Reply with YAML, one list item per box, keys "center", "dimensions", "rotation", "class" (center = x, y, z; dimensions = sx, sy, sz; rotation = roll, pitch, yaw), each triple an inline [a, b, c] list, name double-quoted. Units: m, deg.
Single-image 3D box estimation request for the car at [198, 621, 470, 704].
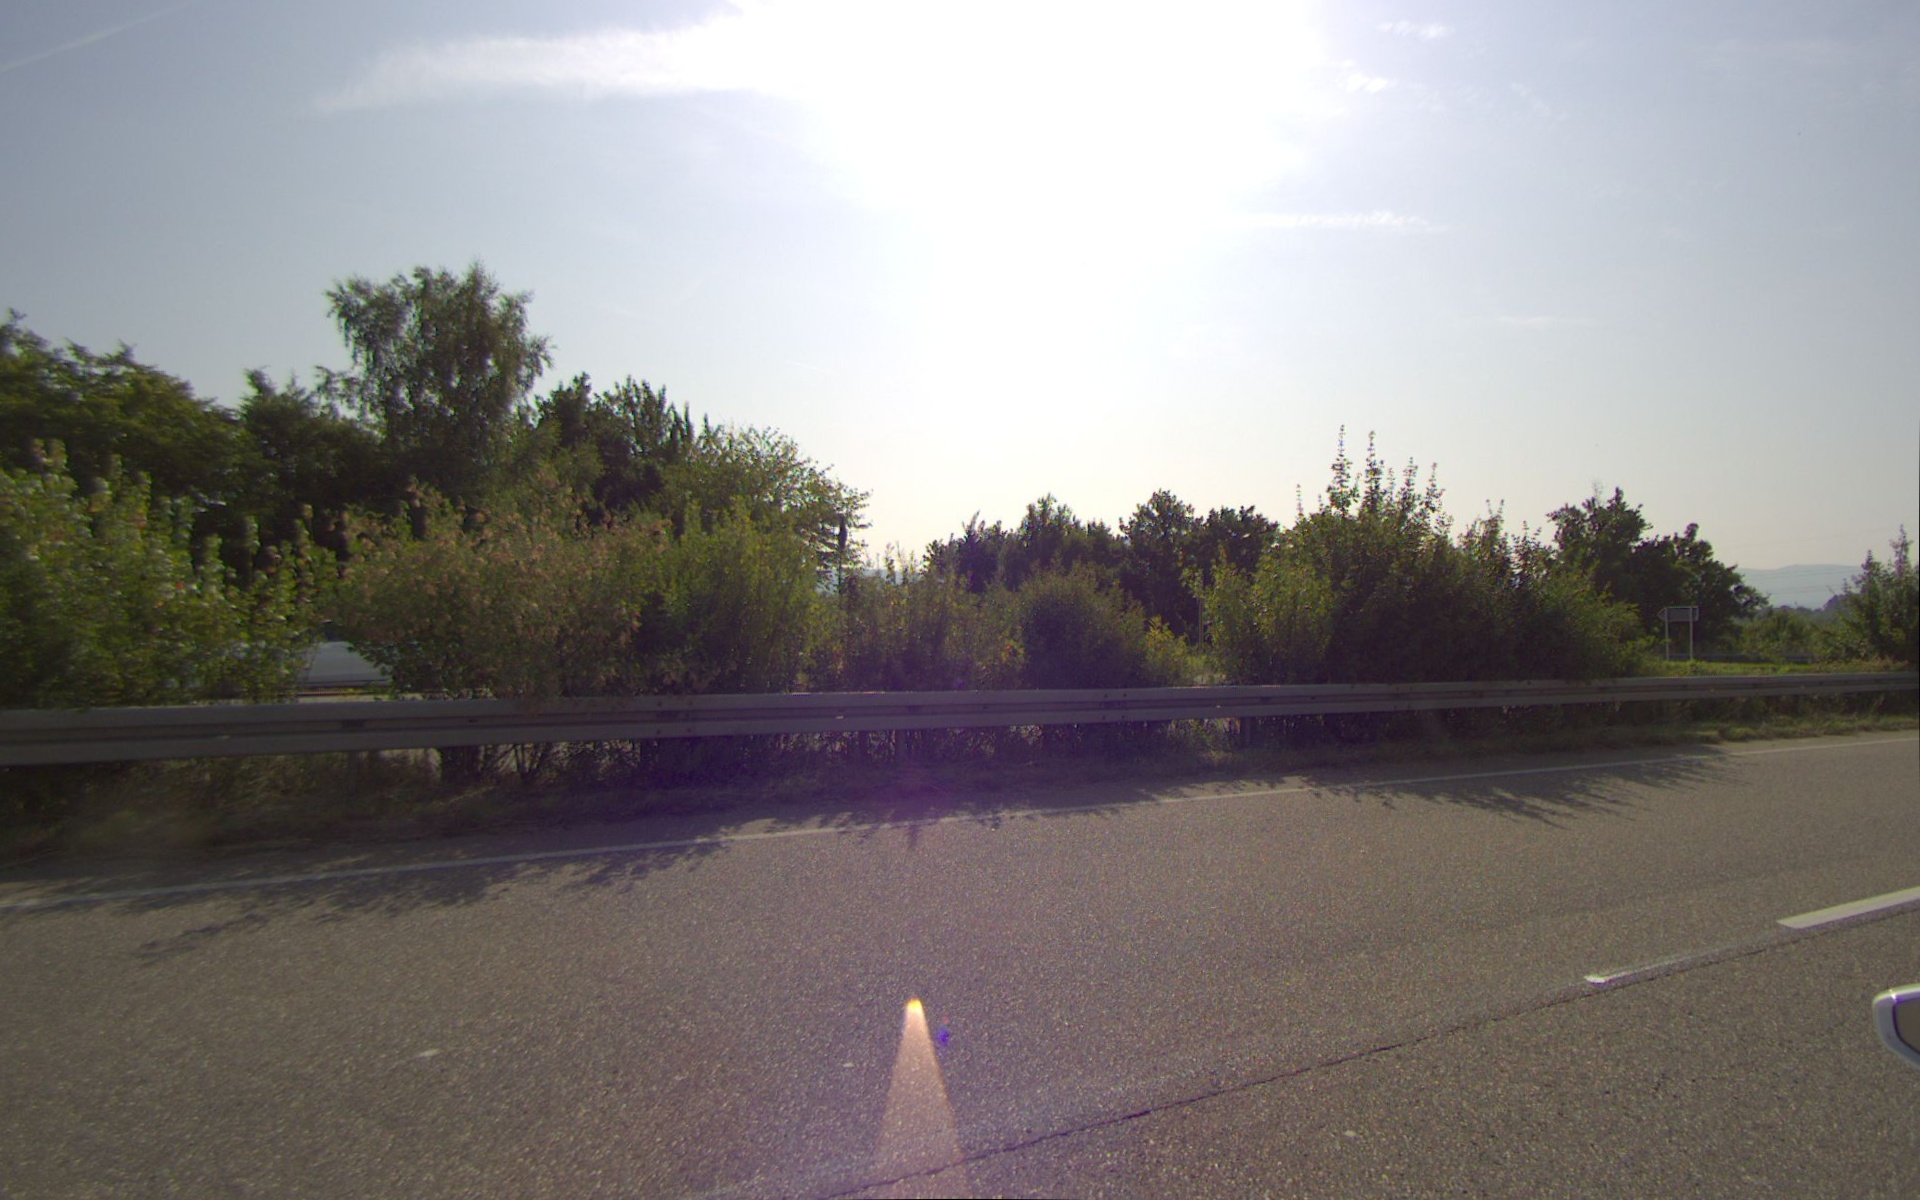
- center: [-11.537, 1.077, 18.717]
  dimensions: [1.734, 1.367, 3.980]
  rotation: [-1, -2, 40]
  class: "car"
